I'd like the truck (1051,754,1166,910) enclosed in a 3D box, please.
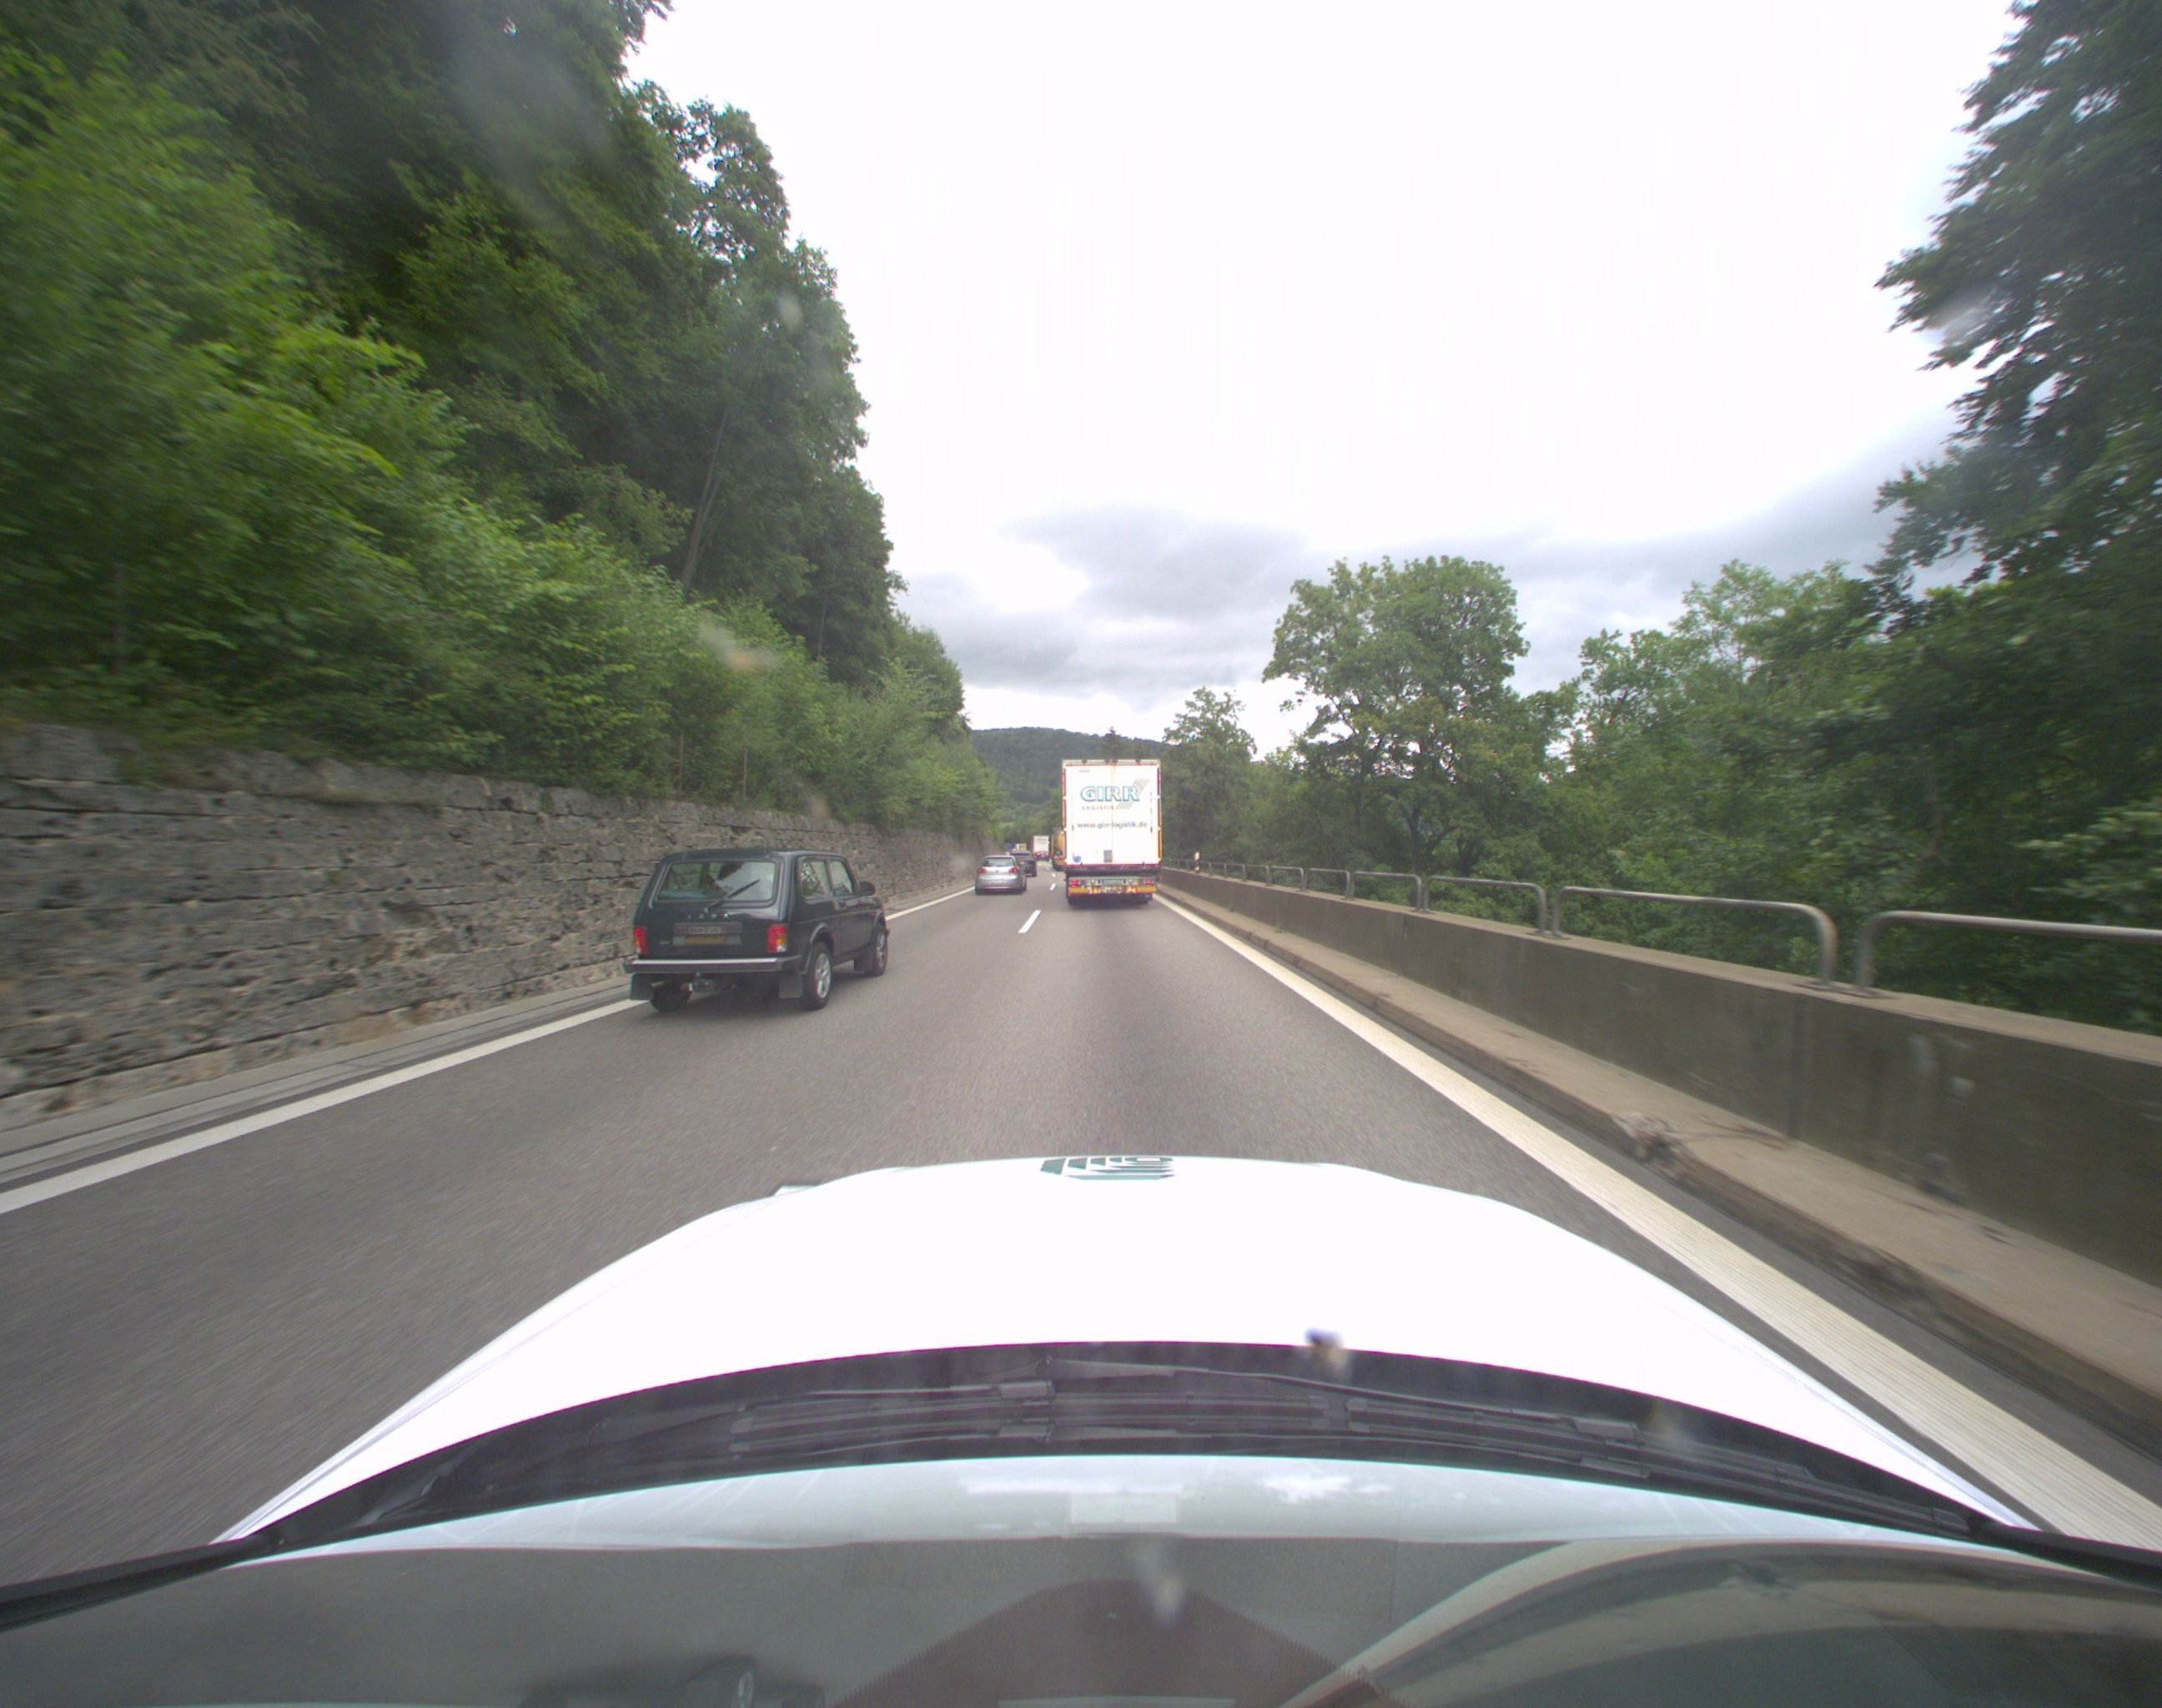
[{"bbox_3d":[0.790,-0.570,25.438,2.898,3.960,9.280,0,0,1],"label":"truck"}]

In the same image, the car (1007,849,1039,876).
[{"bbox_3d":[-3.620,0.542,51.277,1.912,1.595,4.174,-1,0,-3],"label":"car"}]

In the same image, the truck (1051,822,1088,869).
[{"bbox_3d":[-1.000,-0.630,66.251,2.481,3.571,9.295,0,0,-4],"label":"truck"}]

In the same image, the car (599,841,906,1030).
[{"bbox_3d":[-3.303,0.719,9.131,1.662,1.638,4.070,-1,0,2],"label":"car"}]

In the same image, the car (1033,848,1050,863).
[{"bbox_3d":[-5.458,0.266,112.446,1.985,2.014,4.003,0,-1,3],"label":"car"}]

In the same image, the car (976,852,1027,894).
[{"bbox_3d":[-3.003,0.694,31.439,1.725,1.486,3.996,-1,0,-3],"label":"car"}]

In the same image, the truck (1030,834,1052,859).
[{"bbox_3d":[-6.750,-1.195,137.897,3.503,3.847,11.763,0,-1,-3],"label":"truck"}]
